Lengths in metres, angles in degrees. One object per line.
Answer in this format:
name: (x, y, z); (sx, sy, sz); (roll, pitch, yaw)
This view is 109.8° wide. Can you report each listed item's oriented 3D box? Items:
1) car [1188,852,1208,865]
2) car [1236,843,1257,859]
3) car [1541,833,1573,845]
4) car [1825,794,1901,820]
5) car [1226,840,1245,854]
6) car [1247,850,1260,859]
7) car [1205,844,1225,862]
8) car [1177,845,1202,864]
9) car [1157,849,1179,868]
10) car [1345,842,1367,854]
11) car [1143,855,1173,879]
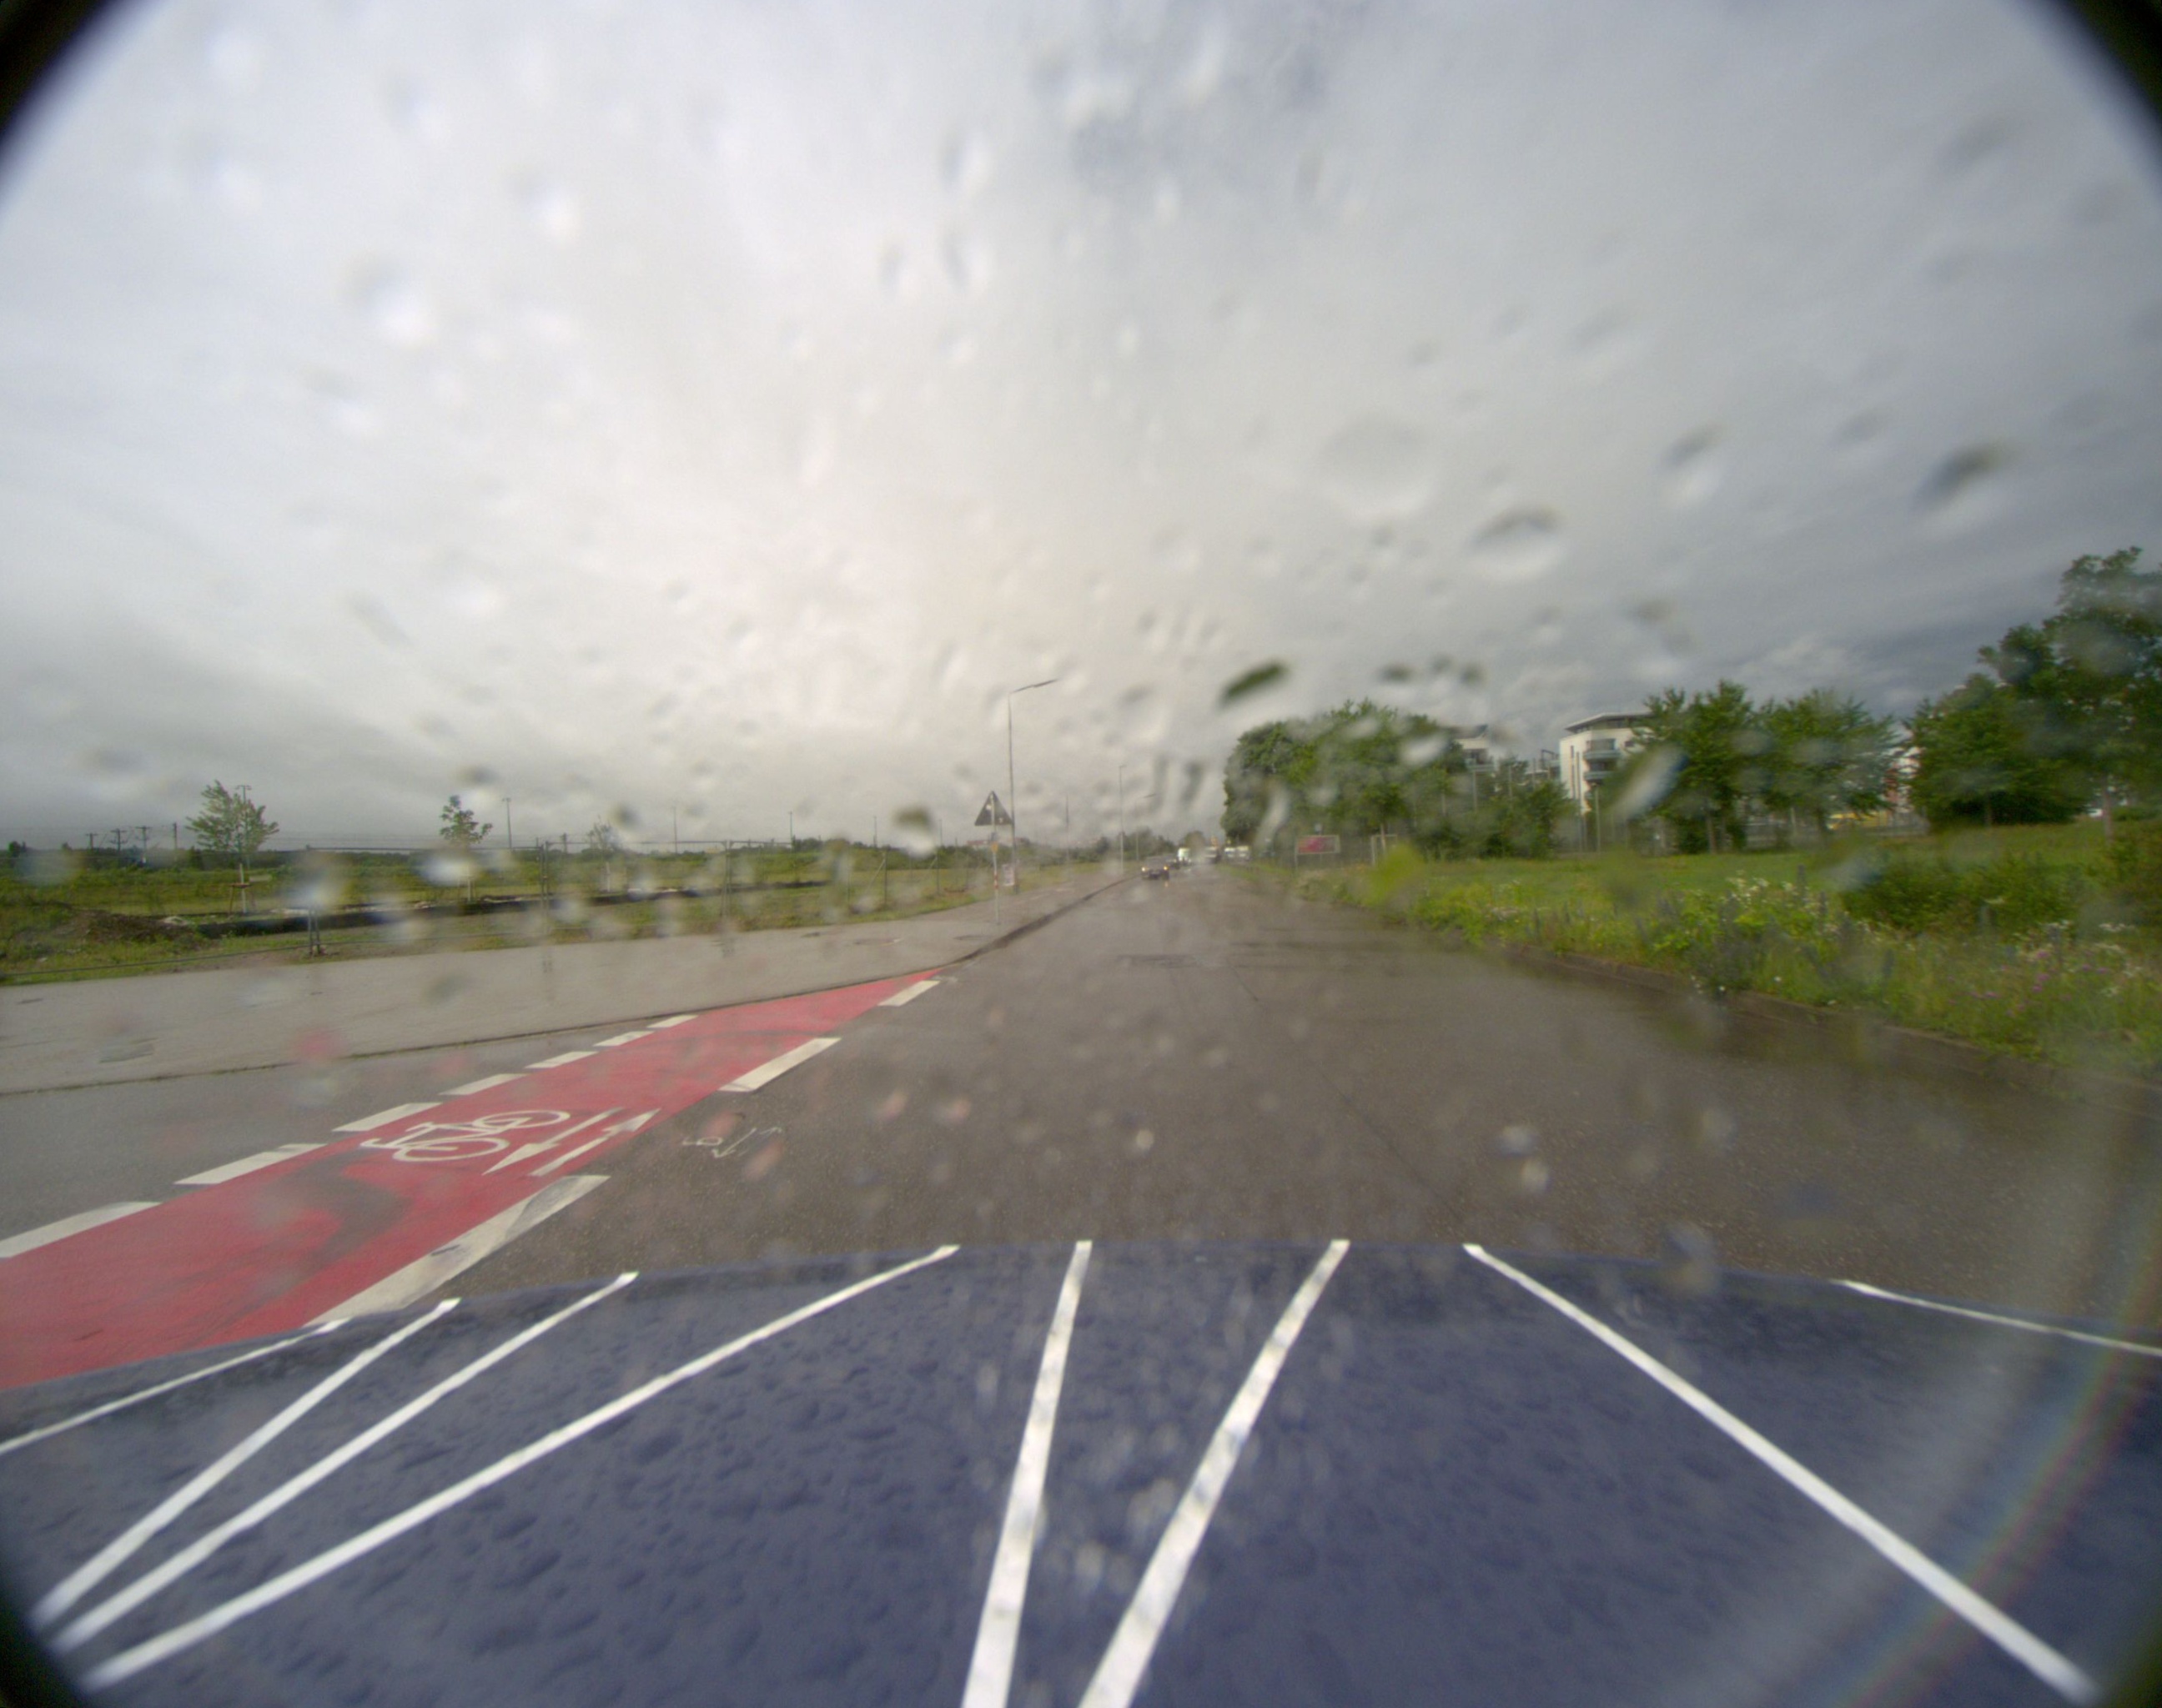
car: (15.339, 0.587, 99.128); (1.839, 1.510, 4.363); (-2, 0, 18)
car: (32.319, -0.599, 148.035); (2.473, 2.939, 6.898); (-1, 0, 25)
car: (61.813, -1.961, 98.699); (1.642, 1.388, 4.186); (-4, 0, 5)
car: (97.819, -5.828, 95.148); (6.631, 2.599, 1.968); (-4, 1, 10)
car: (27.915, -1.302, 137.117); (2.070, 2.514, 6.668); (-1, 0, 24)
car: (31.410, 0.091, 138.162); (1.839, 1.510, 4.363); (-2, 0, 20)
car: (21.714, -0.155, 122.895); (2.146, 2.867, 5.283); (0, 1, 21)
car: (15.306, 0.005, 106.794); (2.094, 2.458, 5.956); (-1, 1, 22)
car: (8.802, 0.401, 77.078); (2.009, 1.695, 4.331); (-5, 0, 5)
car: (36.841, -0.836, 102.011); (1.687, 1.388, 4.130); (-4, 0, 5)
car: (5.217, 0.845, 51.059); (1.873, 1.510, 4.360); (1, 0, 7)
